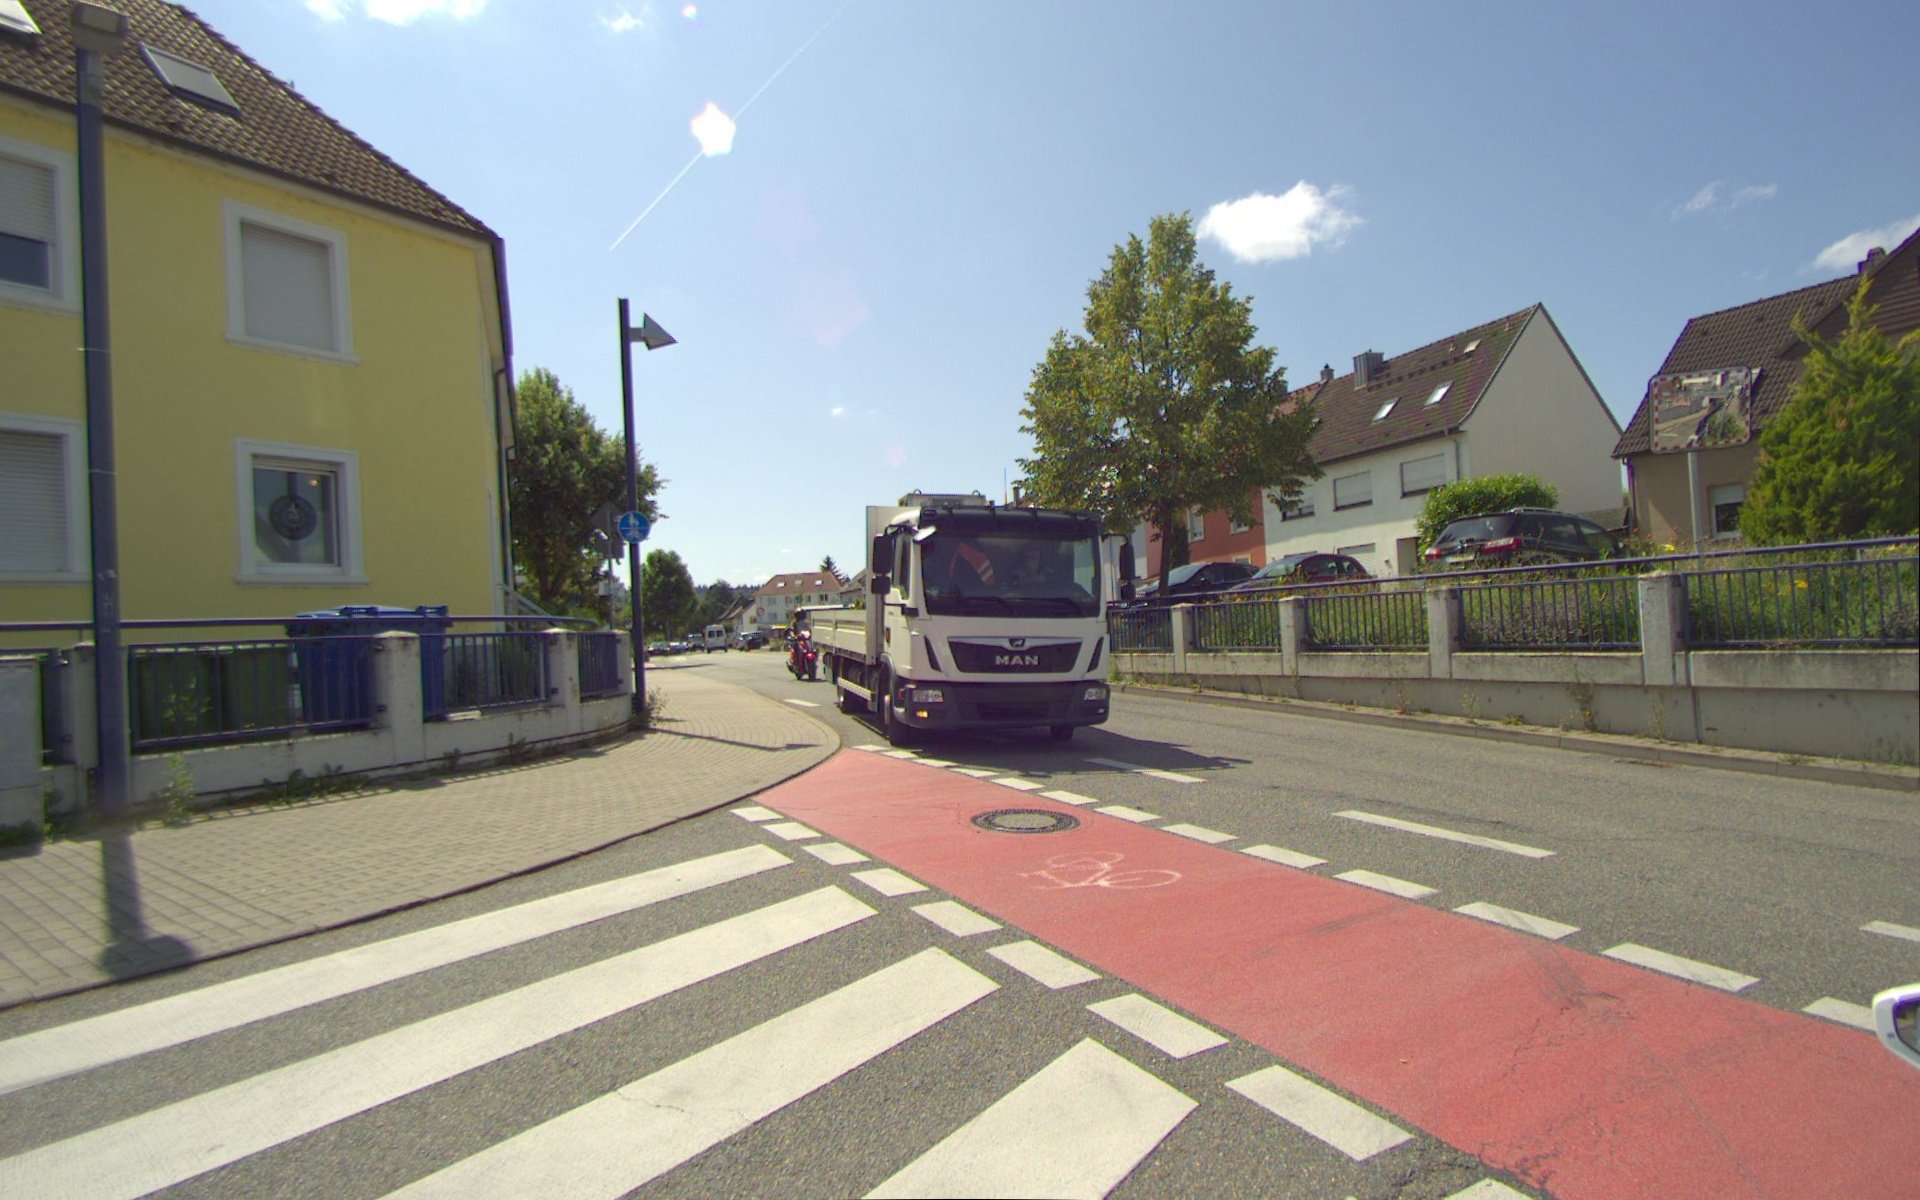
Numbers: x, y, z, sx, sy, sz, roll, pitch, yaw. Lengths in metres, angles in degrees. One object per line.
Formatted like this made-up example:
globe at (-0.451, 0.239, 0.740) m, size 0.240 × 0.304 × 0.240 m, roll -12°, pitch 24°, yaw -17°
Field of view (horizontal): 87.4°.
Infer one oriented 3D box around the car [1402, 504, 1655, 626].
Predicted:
car at (9.443, -0.520, 16.664) m, size 3.951 × 1.821 × 1.859 m, roll 0°, pitch 1°, yaw -29°

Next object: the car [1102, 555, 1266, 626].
car at (5.453, -0.214, 24.466) m, size 3.565 × 1.608 × 1.859 m, roll 0°, pitch 1°, yaw -29°

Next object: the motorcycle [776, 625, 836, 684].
motorcycle at (-3.608, 1.259, 23.371) m, size 0.720 × 1.308 × 2.129 m, roll 1°, pitch -3°, yaw -28°

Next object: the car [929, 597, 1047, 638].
car at (1.081, 0.669, 38.724) m, size 4.194 × 1.508 × 1.738 m, roll 0°, pitch 1°, yaw -22°

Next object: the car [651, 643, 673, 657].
car at (-31.759, 5.315, 107.221) m, size 1.966 × 1.416 × 3.990 m, roll -2°, pitch -1°, yaw -14°

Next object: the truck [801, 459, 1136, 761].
truck at (-0.474, 0.182, 13.939) m, size 2.575 × 2.915 × 8.047 m, roll 0°, pitch -1°, yaw -15°

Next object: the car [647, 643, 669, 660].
car at (-29.355, 4.996, 97.721) m, size 1.967 × 1.416 × 3.987 m, roll -2°, pitch -1°, yaw -16°

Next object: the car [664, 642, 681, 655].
car at (-35.283, 5.918, 123.270) m, size 1.783 × 1.416 × 3.990 m, roll -2°, pitch -1°, yaw -14°

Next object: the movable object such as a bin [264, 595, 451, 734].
movable object such as a bin at (-5.719, 0.590, 9.602) m, size 0.826 × 1.229 × 1.276 m, roll -3°, pitch -1°, yaw 22°

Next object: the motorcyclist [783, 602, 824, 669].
motorcyclist at (-3.642, 0.815, 23.431) m, size 0.720 × 1.521 × 0.765 m, roll 1°, pitch 0°, yaw -29°

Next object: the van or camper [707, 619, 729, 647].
van or camper at (-23.384, 3.155, 96.959) m, size 1.970 × 2.665 × 5.379 m, roll 1°, pitch -1°, yaw -13°

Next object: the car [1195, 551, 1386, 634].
car at (6.903, -0.147, 20.943) m, size 3.565 × 1.608 × 1.859 m, roll 0°, pitch 1°, yaw -29°

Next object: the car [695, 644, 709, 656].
car at (-36.738, 7.066, 142.910) m, size 1.783 × 1.416 × 3.989 m, roll -3°, pitch 0°, yaw -14°
